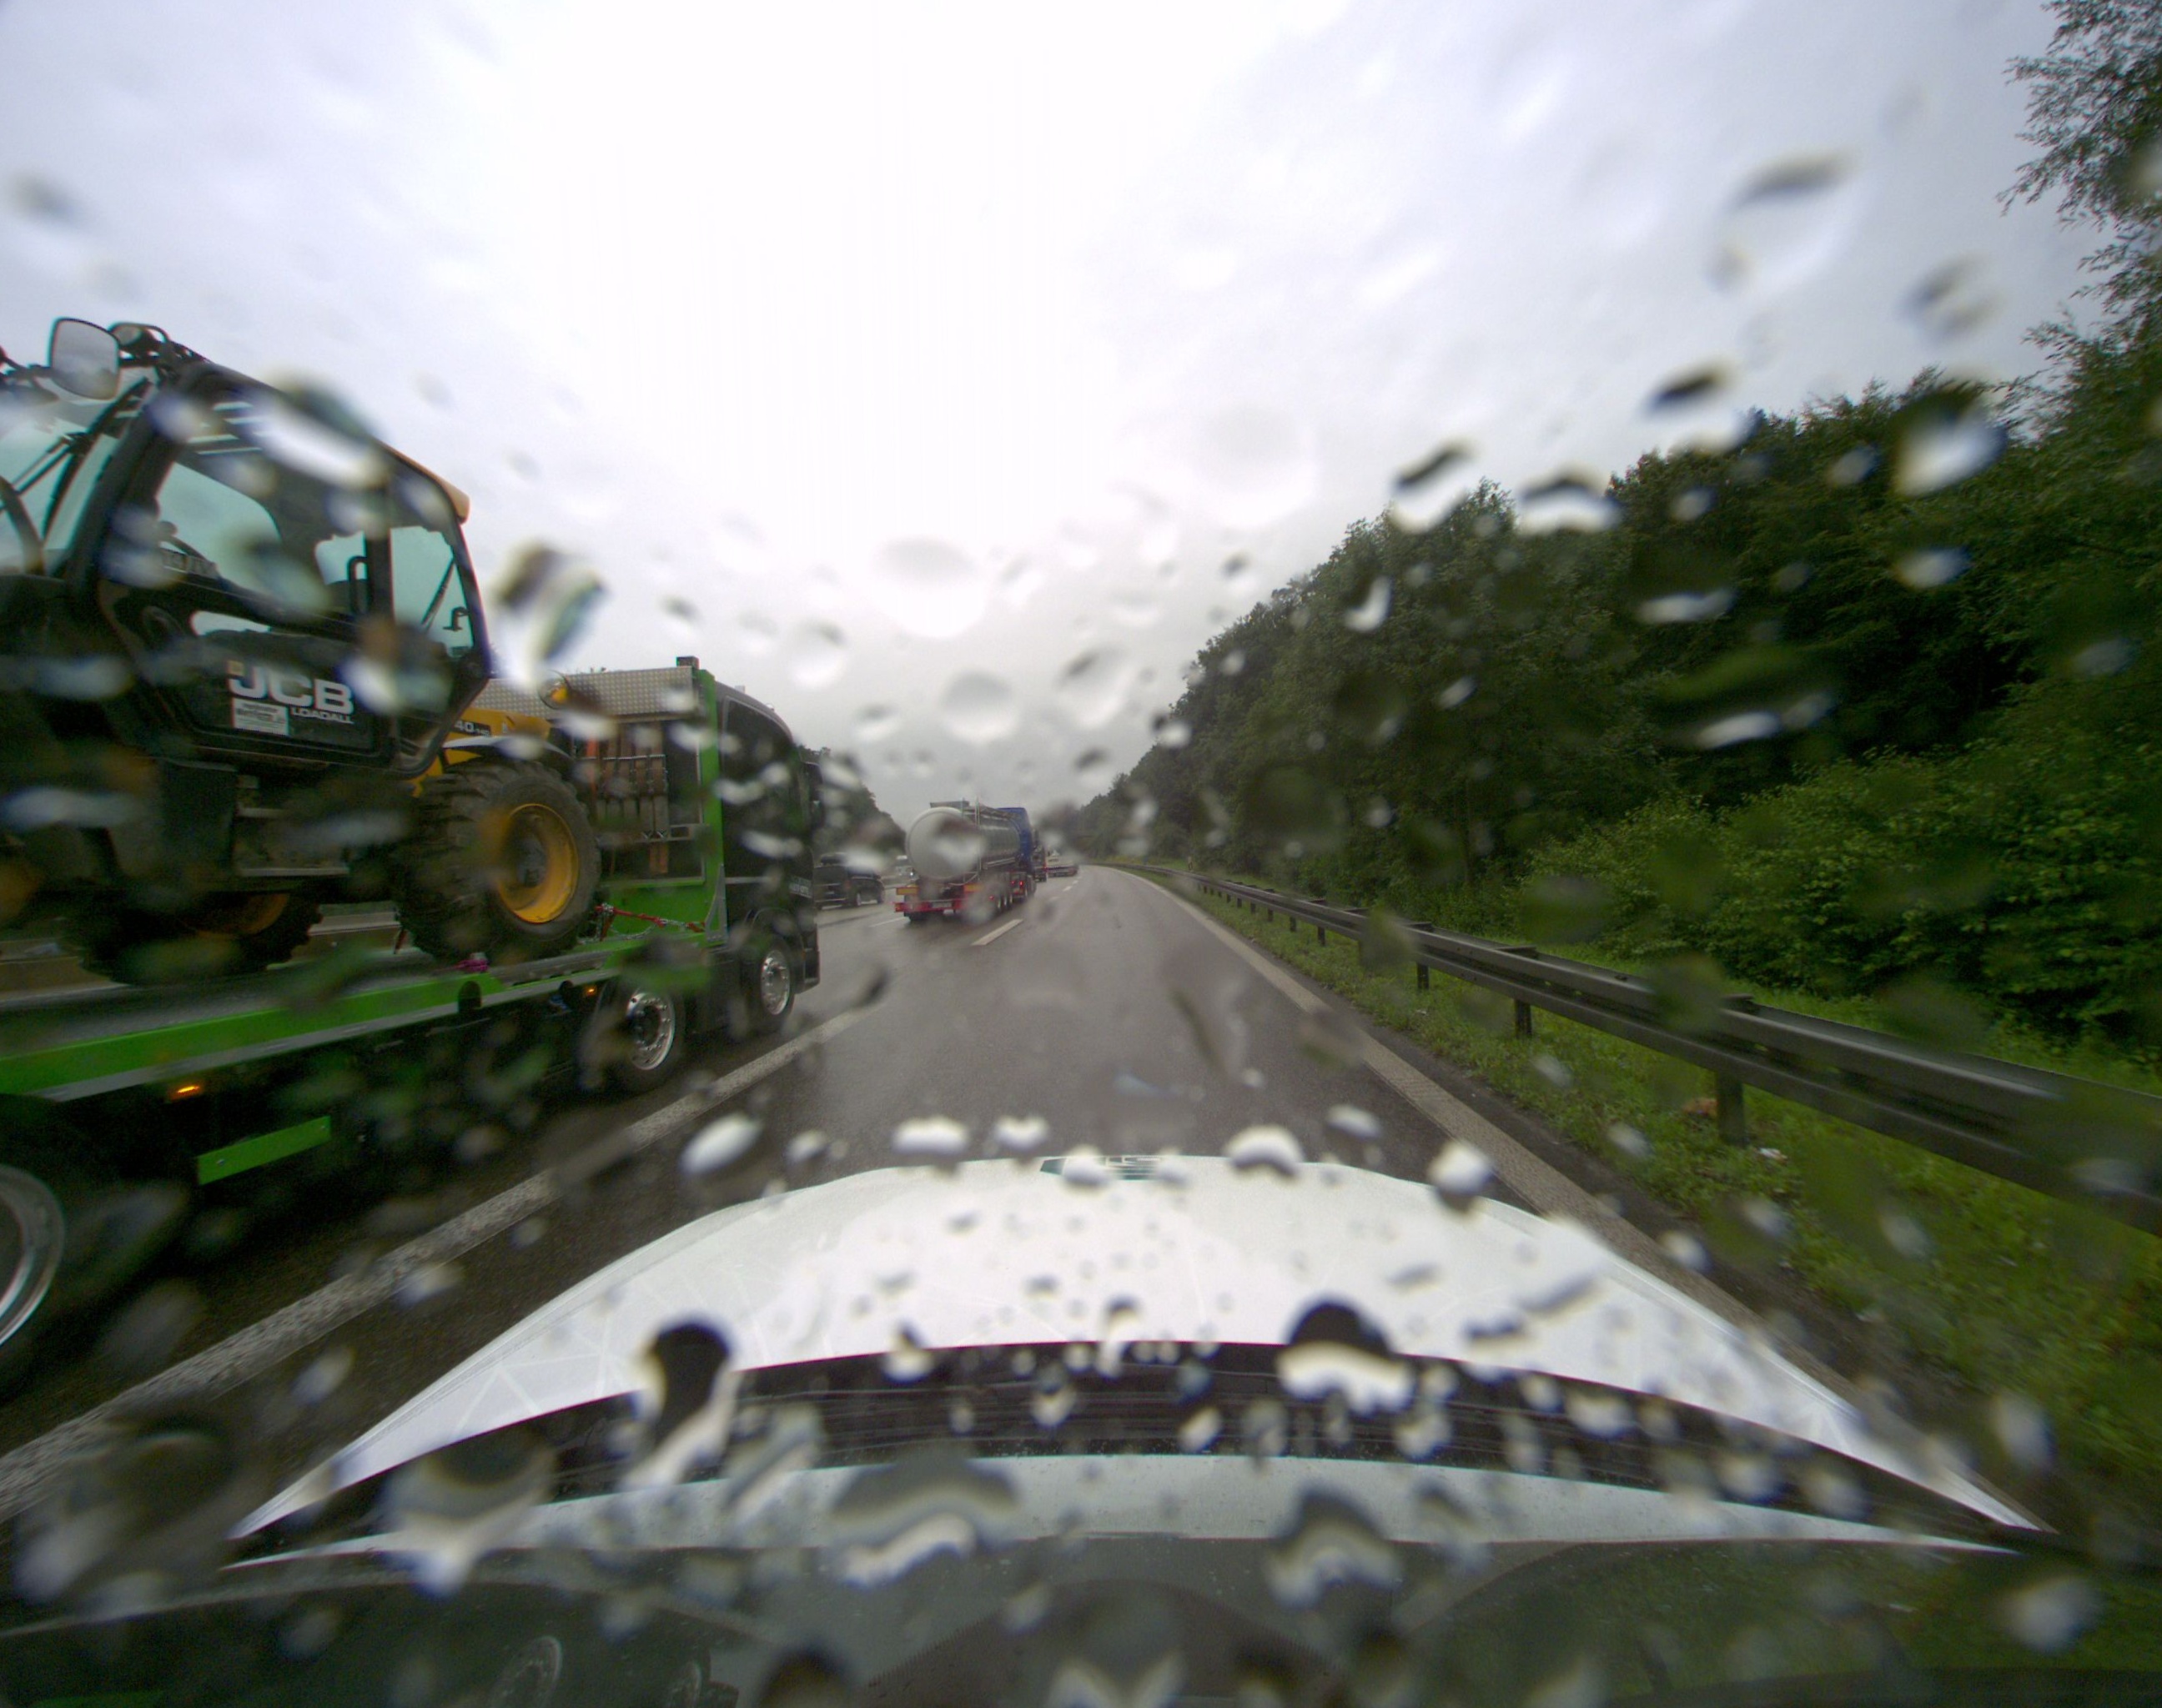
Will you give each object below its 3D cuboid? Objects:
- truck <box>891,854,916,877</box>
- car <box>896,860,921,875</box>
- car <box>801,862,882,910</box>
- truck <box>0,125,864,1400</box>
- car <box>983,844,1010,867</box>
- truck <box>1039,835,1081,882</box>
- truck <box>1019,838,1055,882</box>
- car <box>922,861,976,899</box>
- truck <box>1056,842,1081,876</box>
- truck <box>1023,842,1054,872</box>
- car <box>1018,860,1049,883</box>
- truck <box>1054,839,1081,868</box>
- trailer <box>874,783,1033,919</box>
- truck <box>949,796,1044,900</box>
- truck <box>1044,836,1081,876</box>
[{"bbox_3d":[-31.447,2.075,144.783,2.441,3.948,7.242,-2,0,2],"label":"truck"},{"bbox_3d":[-23.493,1.825,111.056,2.043,1.878,5.249,1,-2,2],"label":"car"},{"bbox_3d":[-10.001,1.294,34.371,1.986,1.798,4.155,-3,-1,1],"label":"car"},{"bbox_3d":[-4.356,-0.218,3.352,2.818,3.588,11.809,-3,-1,4],"label":"truck"},{"bbox_3d":[-7.475,0.153,71.992,1.790,1.838,4.001,1,-2,2],"label":"car"},{"bbox_3d":[-1.876,0.447,79.546,3.588,4.105,11.557,-3,0,0],"label":"truck"},{"bbox_3d":[-5.610,0.947,106.527,3.740,5.500,10.175,1,-2,2],"label":"truck"},{"bbox_3d":[-6.499,1.247,40.541,1.812,1.767,4.002,-2,-1,2],"label":"car"},{"bbox_3d":[-2.164,0.944,144.425,4.323,5.764,9.726,1,-2,0],"label":"truck"},{"bbox_3d":[-6.269,0.552,122.933,3.563,4.096,10.882,-2,-2,2],"label":"truck"},{"bbox_3d":[-3.540,1.331,60.944,1.986,1.636,4.000,1,-2,1],"label":"car"},{"bbox_3d":[-1.997,-0.006,122.576,3.742,3.971,11.057,1,-2,0],"label":"truck"},{"bbox_3d":[-3.513,-0.062,25.597,2.862,3.289,10.084,-3,0,2],"label":"trailer"},{"bbox_3d":[-3.213,-0.214,32.415,2.865,3.693,5.059,-3,0,3],"label":"truck"},{"bbox_3d":[-2.085,0.365,95.566,3.493,4.268,10.609,1,-2,3],"label":"truck"}]
